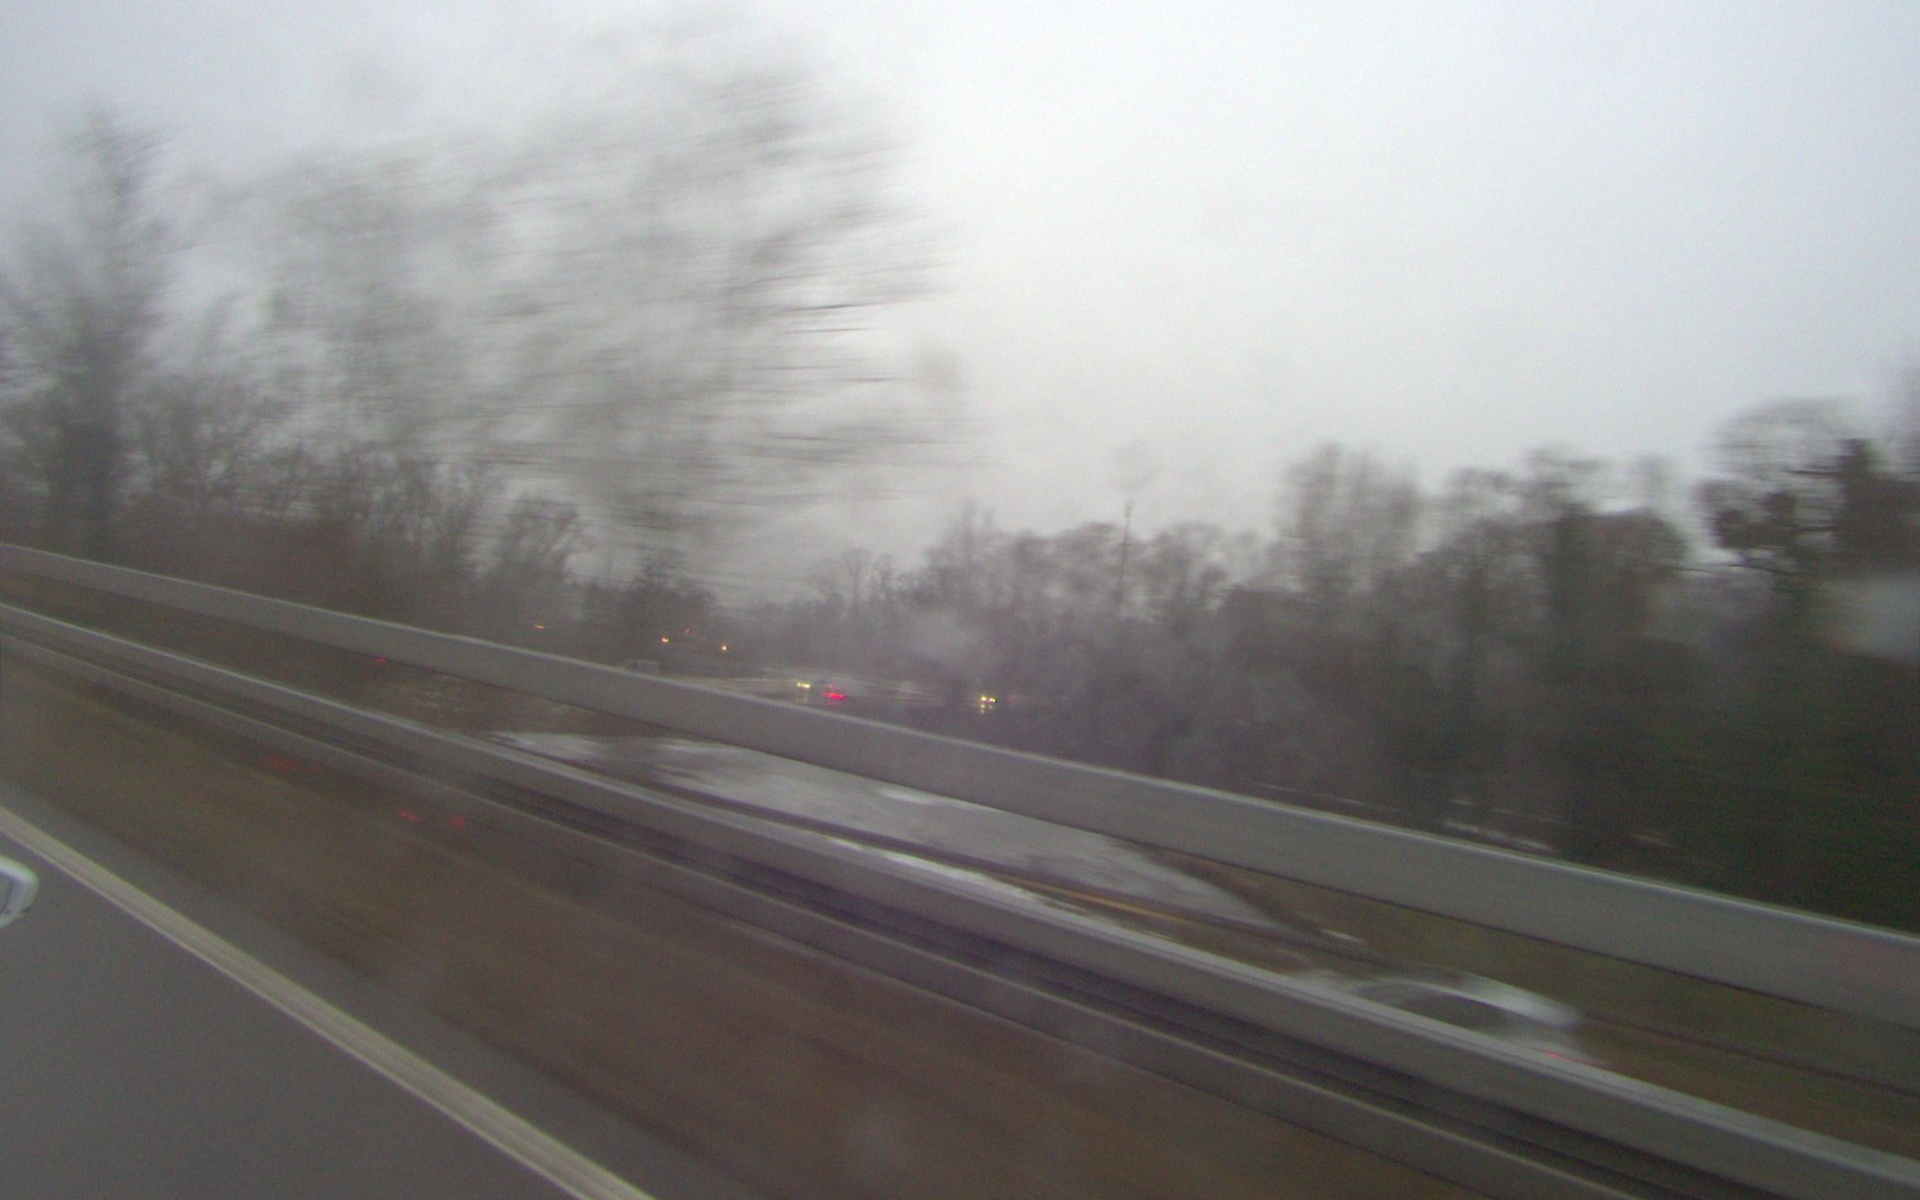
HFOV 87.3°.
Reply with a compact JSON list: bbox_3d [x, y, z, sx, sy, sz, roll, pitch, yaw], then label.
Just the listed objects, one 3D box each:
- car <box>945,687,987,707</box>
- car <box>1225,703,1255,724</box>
[{"bbox_3d":[0.800,12.700,131.072,1.973,2.036,5.690,6,-3,42],"label":"car"},{"bbox_3d":[51.620,20.944,185.595,2.511,3.423,6.634,6,-2,40],"label":"car"}]
